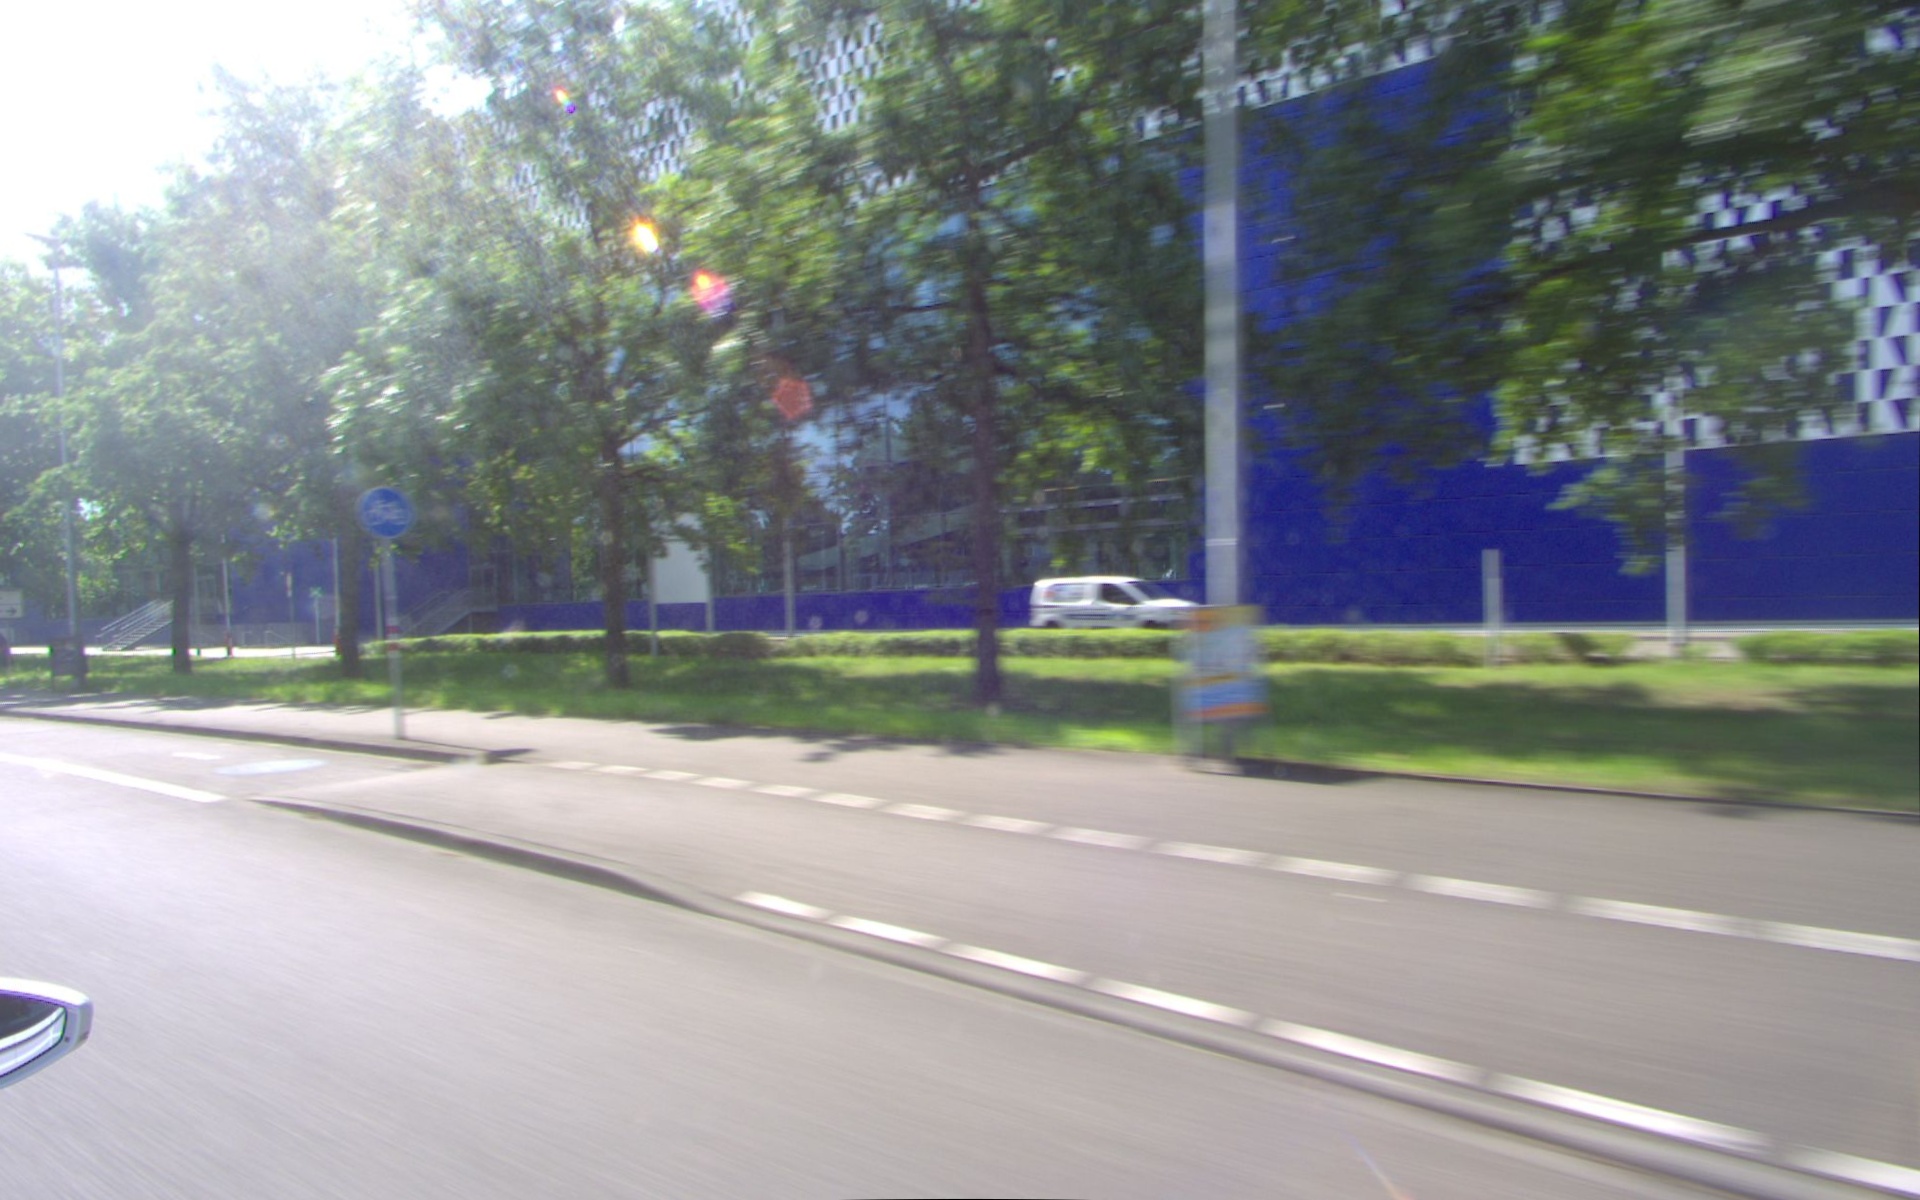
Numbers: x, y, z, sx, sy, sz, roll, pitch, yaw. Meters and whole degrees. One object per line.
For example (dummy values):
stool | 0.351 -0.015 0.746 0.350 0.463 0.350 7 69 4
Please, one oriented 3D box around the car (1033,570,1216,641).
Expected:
car | 4.158 0.198 25.619 4.245 1.660 1.846 -2 -2 34

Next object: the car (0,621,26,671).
car | -34.814 1.679 33.872 1.822 1.716 4.424 -2 1 39
